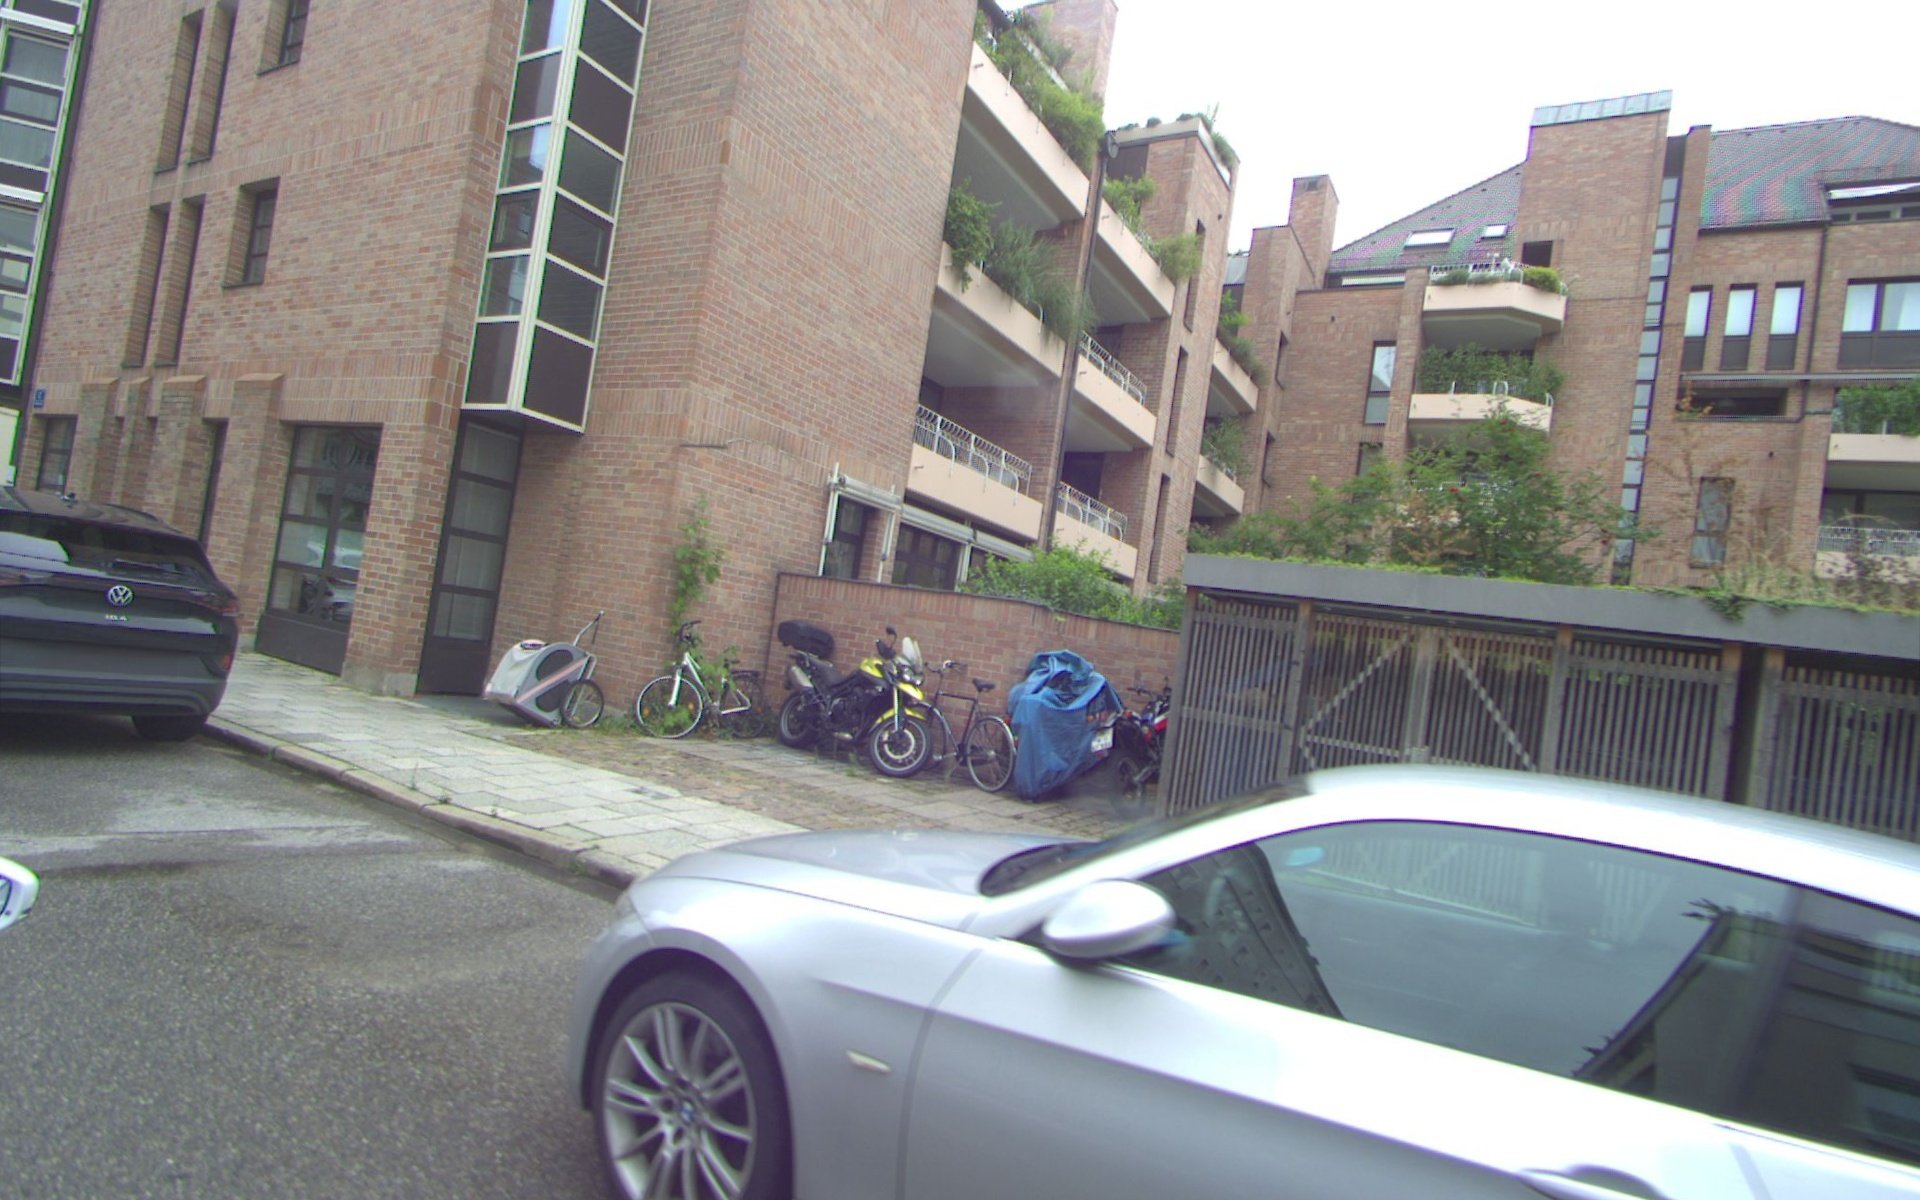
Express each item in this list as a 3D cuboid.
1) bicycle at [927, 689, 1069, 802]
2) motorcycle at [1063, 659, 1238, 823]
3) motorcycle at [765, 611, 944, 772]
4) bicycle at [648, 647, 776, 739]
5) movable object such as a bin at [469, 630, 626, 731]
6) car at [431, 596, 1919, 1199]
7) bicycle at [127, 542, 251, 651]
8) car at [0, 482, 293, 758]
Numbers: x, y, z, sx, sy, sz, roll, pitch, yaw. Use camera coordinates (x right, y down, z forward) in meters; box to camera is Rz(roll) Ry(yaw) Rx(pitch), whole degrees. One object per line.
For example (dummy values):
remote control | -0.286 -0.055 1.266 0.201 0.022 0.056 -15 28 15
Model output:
bicycle | 0.356 1.403 9.863 1.299 0.869 0.375 6 -1 35
motorcycle | 1.944 1.368 9.879 0.542 1.358 2.517 7 -2 36
motorcycle | -1.119 0.900 10.307 1.914 1.360 0.539 6 -2 43
bicycle | -2.594 0.993 10.648 0.407 0.869 1.319 7 -2 31
movable object such as a bin | -4.114 0.820 10.091 0.830 0.841 1.089 7 -2 32
car | 1.086 1.056 2.354 4.522 1.432 1.842 7 -3 30
bicycle | -9.175 -0.051 11.960 1.447 1.091 0.561 7 -2 31
car | -7.127 -0.047 7.288 4.316 1.572 1.892 7 -3 29
